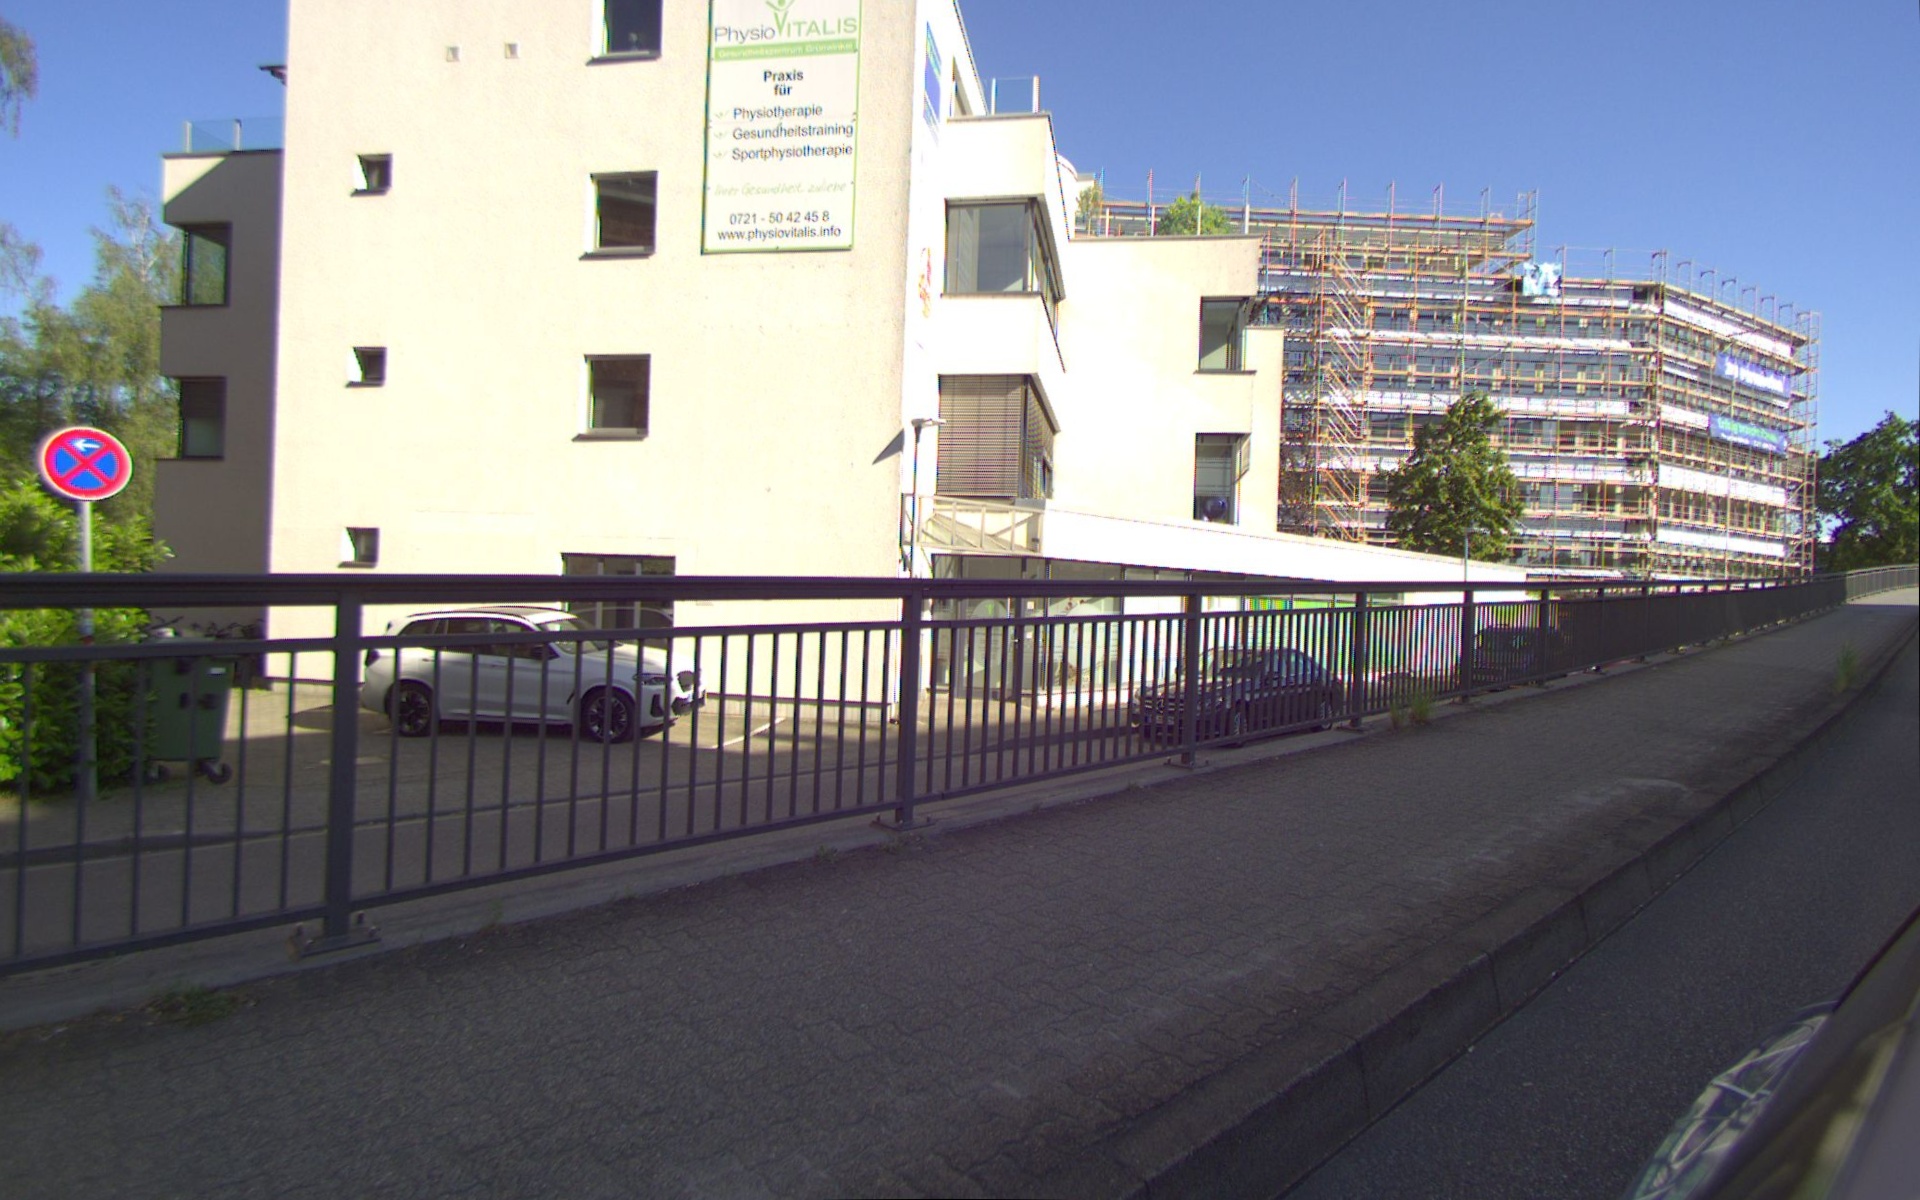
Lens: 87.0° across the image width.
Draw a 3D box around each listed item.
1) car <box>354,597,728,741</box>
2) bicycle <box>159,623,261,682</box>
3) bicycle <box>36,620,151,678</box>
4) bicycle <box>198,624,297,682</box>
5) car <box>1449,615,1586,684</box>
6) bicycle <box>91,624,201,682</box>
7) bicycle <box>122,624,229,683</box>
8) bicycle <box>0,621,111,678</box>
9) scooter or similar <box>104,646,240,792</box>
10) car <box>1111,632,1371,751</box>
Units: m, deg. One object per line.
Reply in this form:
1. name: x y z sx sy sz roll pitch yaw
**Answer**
1. car: -5.745 0.869 14.117 4.572 1.789 1.824 0 1 9
2. bicycle: -14.404 0.983 19.503 0.485 0.896 2.053 1 3 -1
3. bicycle: -16.682 0.926 19.545 0.485 0.896 2.053 1 3 -1
4. bicycle: -13.643 0.992 19.439 0.485 0.896 2.053 1 3 -1
5. car: 14.447 1.227 26.162 3.930 1.554 1.848 1 1 -41
6. bicycle: -15.604 0.990 19.470 0.485 0.896 2.053 1 3 -1
7. bicycle: -15.040 0.997 19.474 0.485 0.896 2.053 1 3 -1
8. bicycle: -17.609 0.935 19.686 0.485 0.896 2.053 1 3 -1
9. scooter or similar: -7.514 1.077 9.631 1.456 1.235 0.773 -1 -2 42
10. car: 4.674 1.361 16.477 4.600 1.448 1.848 -1 1 -40
